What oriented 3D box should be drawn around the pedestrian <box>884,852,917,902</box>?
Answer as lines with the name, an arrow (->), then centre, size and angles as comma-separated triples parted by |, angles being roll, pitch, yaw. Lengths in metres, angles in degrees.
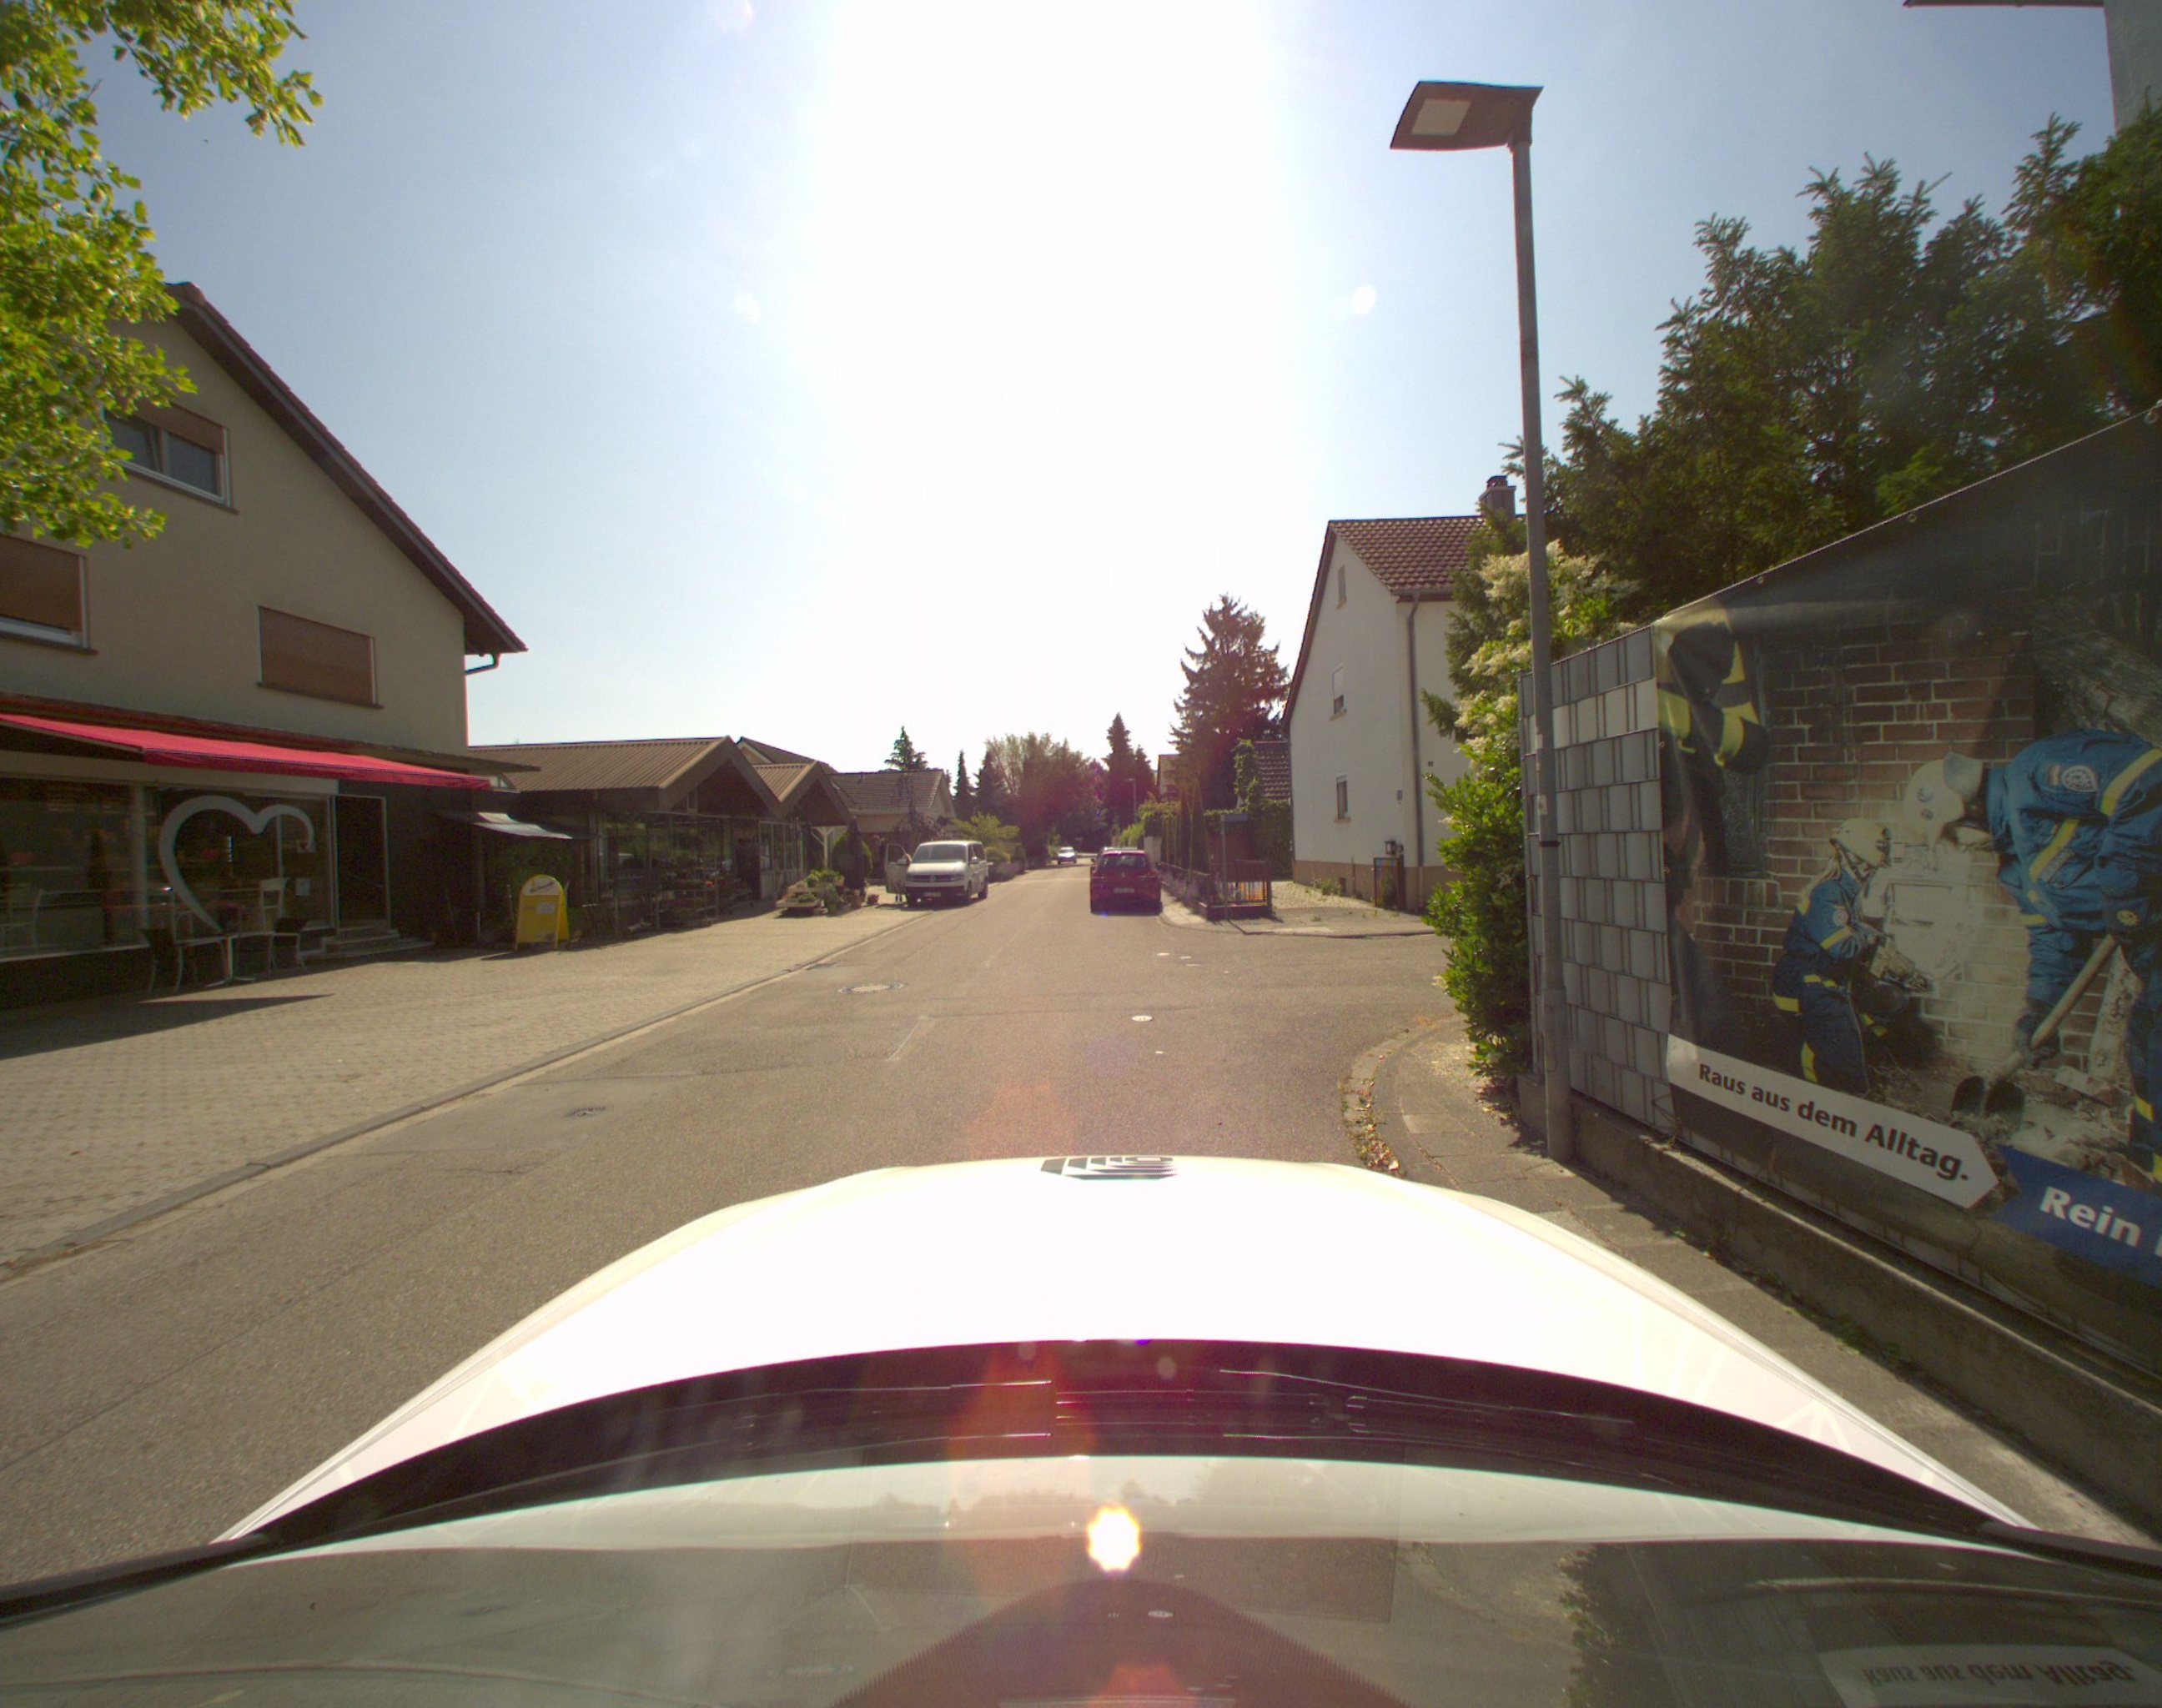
pedestrian -> -5.721, 0.716, 25.814 | 0.710, 1.538, 0.646 | -1, 1, 34

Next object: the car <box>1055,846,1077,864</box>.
car -> -1.386, 0.080, 75.576 | 1.746, 1.487, 4.378 | -2, 0, 2

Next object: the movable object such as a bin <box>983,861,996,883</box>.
movable object such as a bin -> -4.386, 0.840, 39.123 | 0.492, 1.024, 0.447 | -2, 0, 1

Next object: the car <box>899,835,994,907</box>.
car -> -4.132, 0.481, 25.954 | 1.921, 2.013, 4.900 | -2, 0, 3

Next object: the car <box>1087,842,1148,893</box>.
car -> 1.199, 0.423, 28.379 | 1.817, 1.615, 3.998 | -1, 0, -1

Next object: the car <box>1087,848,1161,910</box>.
car -> 1.191, 0.580, 21.541 | 1.767, 1.479, 4.005 | 0, 0, 4
